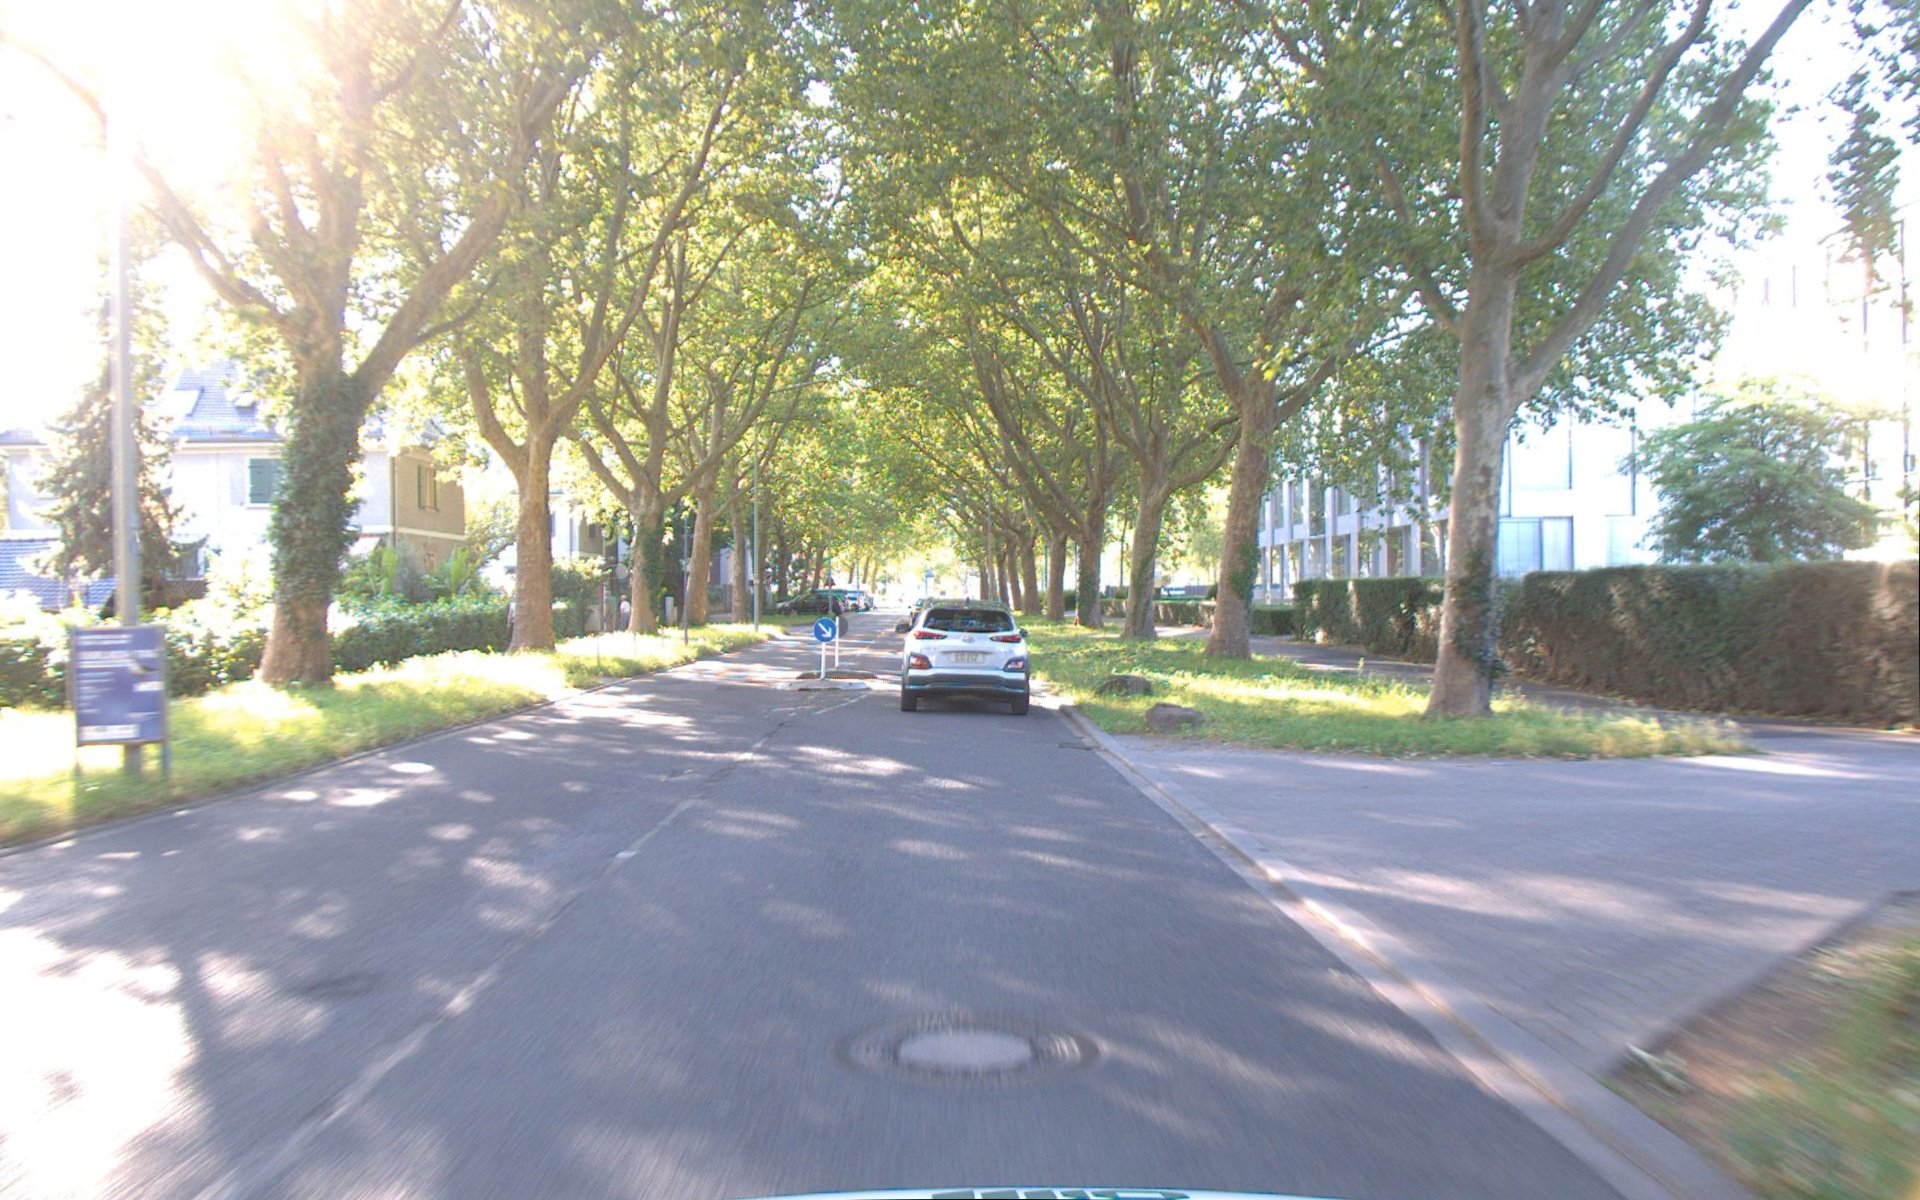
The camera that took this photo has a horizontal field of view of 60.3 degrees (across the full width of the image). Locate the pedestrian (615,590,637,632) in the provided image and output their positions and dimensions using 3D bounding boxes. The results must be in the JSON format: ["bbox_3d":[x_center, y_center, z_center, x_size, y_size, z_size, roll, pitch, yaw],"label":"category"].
[{"bbox_3d":[-13.842,0.466,68.572,0.740,1.737,0.787,1,-1,-25],"label":"pedestrian"}]

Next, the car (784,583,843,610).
[{"bbox_3d":[-9.963,-0.230,112.391,3.910,1.803,1.997,1,-1,-6],"label":"car"}]

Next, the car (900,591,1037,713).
[{"bbox_3d":[0.064,0.712,24.201,1.798,1.583,3.999,2,0,-2],"label":"car"}]

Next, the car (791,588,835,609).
[{"bbox_3d":[-13.191,-0.130,148.168,3.910,1.803,1.997,0,0,-6],"label":"car"}]

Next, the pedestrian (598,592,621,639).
[{"bbox_3d":[-14.390,0.649,67.953,0.740,1.907,0.786,1,-1,-27],"label":"pedestrian"}]

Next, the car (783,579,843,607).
[{"bbox_3d":[-9.696,-0.454,109.280,3.910,1.803,1.997,1,-1,-6],"label":"car"}]

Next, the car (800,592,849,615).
[{"bbox_3d":[-10.767,0.274,131.285,3.910,1.803,1.997,0,0,-6],"label":"car"}]

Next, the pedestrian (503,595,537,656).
[{"bbox_3d":[-12.606,0.733,47.393,0.734,1.737,0.793,1,-1,-1],"label":"pedestrian"}]
